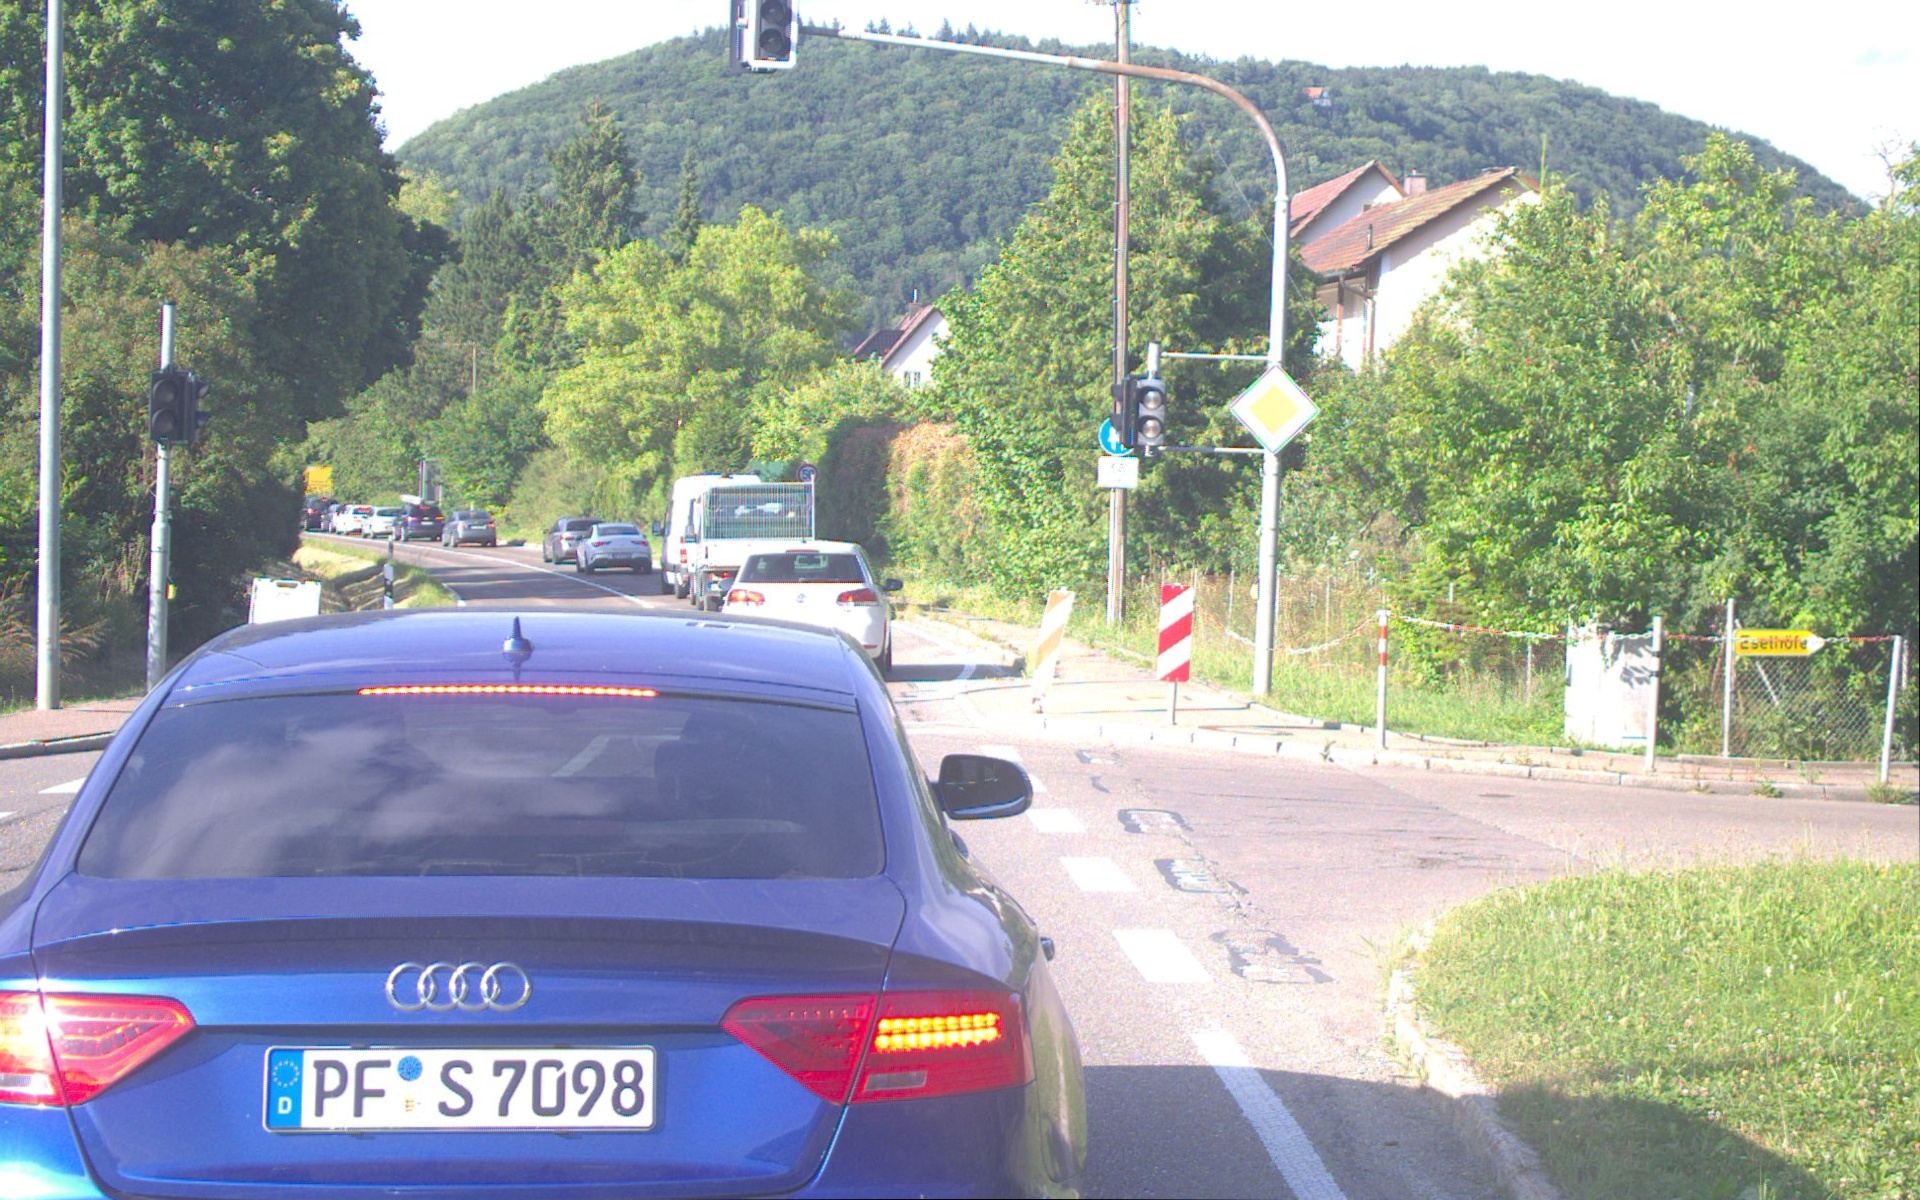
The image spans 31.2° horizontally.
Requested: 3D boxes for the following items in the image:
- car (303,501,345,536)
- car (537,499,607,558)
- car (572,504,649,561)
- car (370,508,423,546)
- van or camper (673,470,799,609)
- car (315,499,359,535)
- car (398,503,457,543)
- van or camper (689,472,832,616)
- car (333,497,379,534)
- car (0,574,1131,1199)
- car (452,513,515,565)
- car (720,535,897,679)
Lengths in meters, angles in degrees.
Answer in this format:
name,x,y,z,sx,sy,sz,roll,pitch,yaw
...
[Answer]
name,x,y,z,sx,sy,sz,roll,pitch,yaw
car,-32.869,-4.192,177.676,1.771,1.776,4.001,-1,1,-16
car,-12.155,-2.243,107.654,1.796,1.787,4.001,-1,1,-12
car,-9.780,-1.907,96.097,1.819,1.546,4.001,0,2,-10
car,-25.684,-3.313,156.492,1.941,1.678,4.001,-1,1,-15
van or camper,-4.911,-1.341,74.501,2.414,2.894,6.133,0,2,-6
car,-31.037,-4.129,171.218,1.771,1.776,4.001,-1,1,-16
car,-22.918,-3.318,147.938,2.040,1.678,4.002,0,2,-16
van or camper,-3.520,-1.001,59.706,2.179,2.377,5.371,0,2,-6
car,-29.039,-4.067,165.171,1.748,1.776,4.001,-1,1,-16
car,-0.778,0.694,6.461,1.829,1.404,4.227,-1,1,-2
car,-18.756,-2.422,135.189,1.993,2.007,4.001,0,1,-15
car,-1.626,0.036,37.432,1.771,1.410,4.174,2,1,-2
